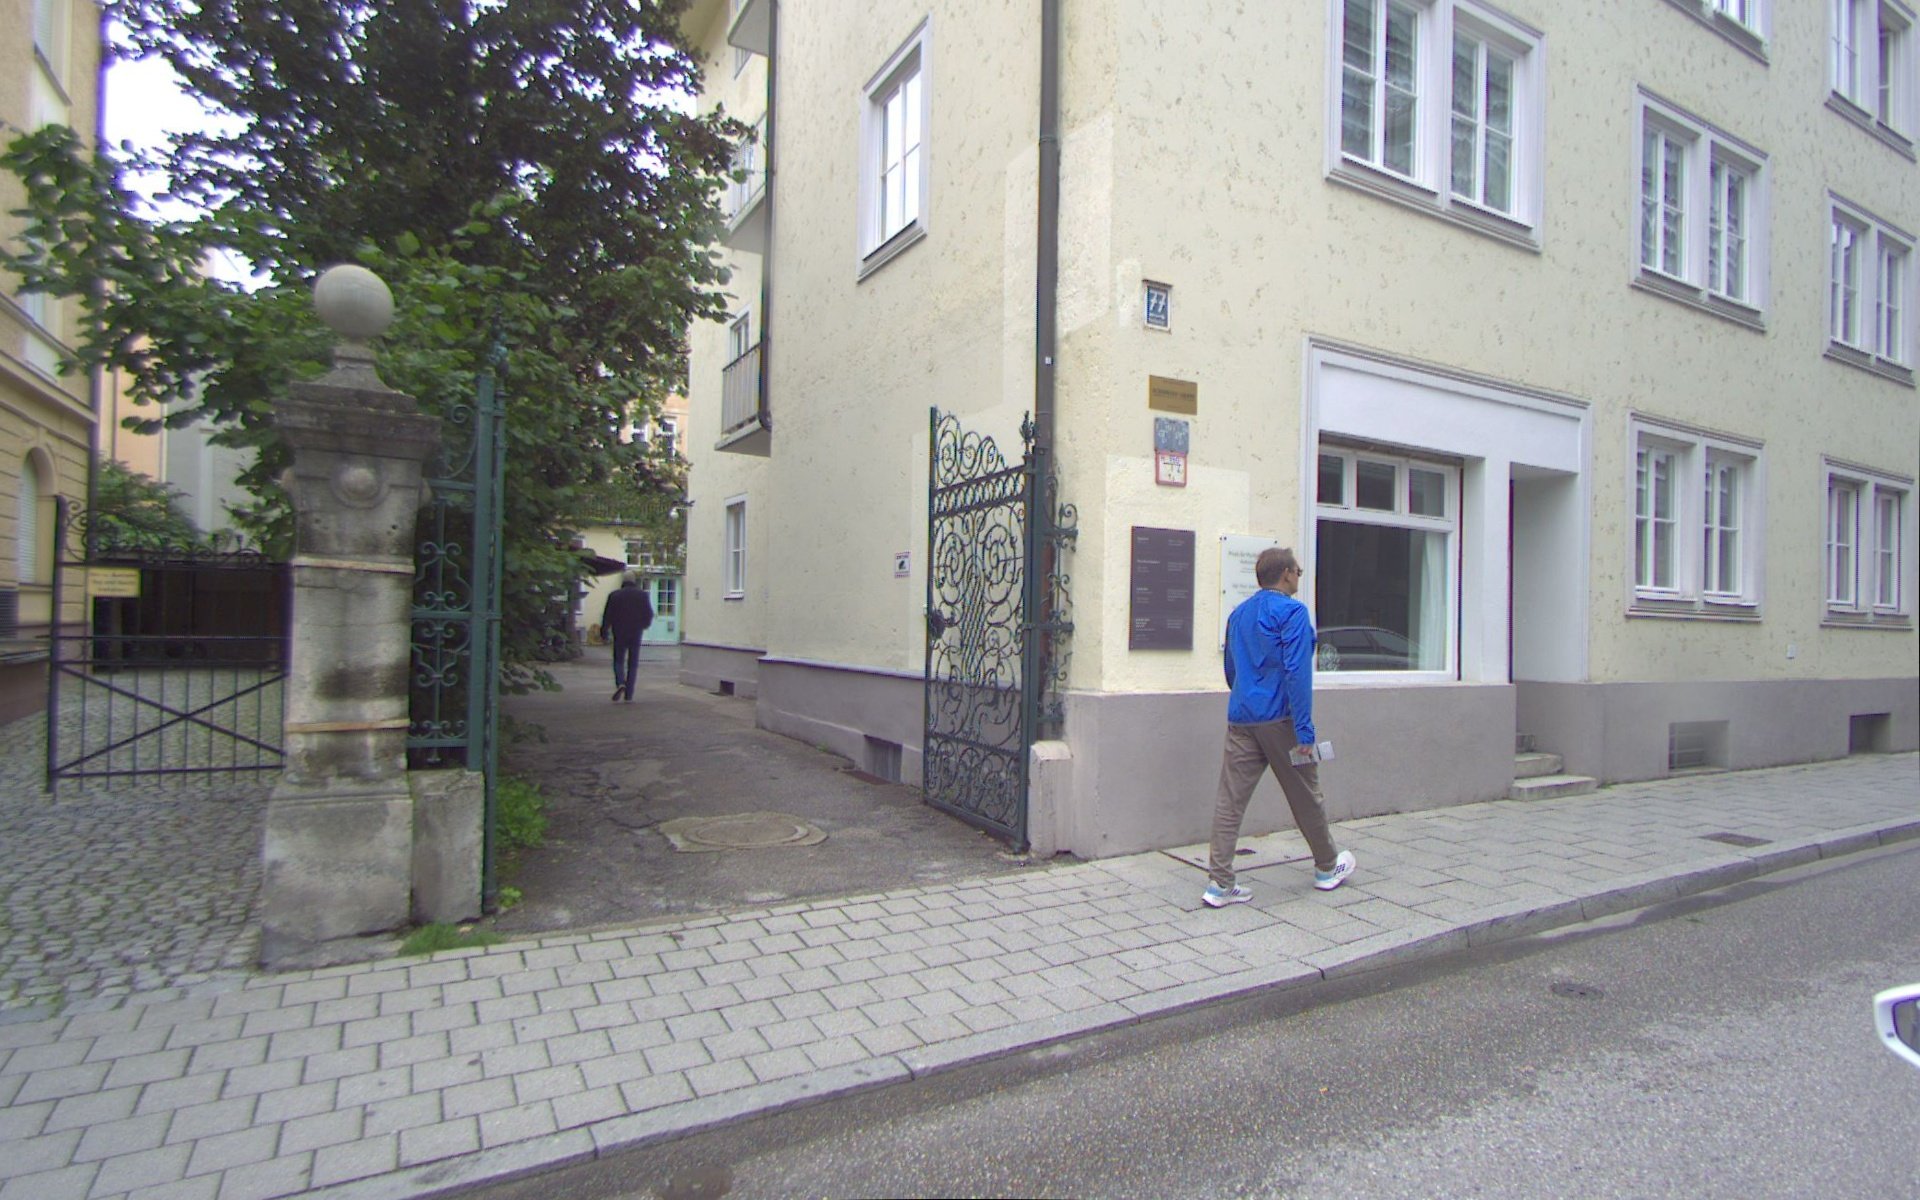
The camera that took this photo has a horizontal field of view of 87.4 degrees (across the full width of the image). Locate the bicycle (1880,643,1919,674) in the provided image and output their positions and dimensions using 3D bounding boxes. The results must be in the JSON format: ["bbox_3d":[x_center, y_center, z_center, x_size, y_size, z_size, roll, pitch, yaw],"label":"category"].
[{"bbox_3d":[35.040,2.164,36.945,0.590,1.083,1.651,2,0,-25],"label":"bicycle"}]

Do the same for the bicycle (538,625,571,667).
[{"bbox_3d":[-10.041,1.112,24.899,0.688,0.985,1.880,1,-1,-20],"label":"bicycle"}]

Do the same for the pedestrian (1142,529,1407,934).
[{"bbox_3d":[1.634,0.620,5.249,1.064,1.879,0.753,2,0,-30],"label":"pedestrian"}]

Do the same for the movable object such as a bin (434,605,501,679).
[{"bbox_3d":[-9.909,0.839,20.262,1.091,1.422,1.221,1,-1,-22],"label":"movable object such as a bin"}]

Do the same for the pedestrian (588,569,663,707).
[{"bbox_3d":[-4.719,0.529,14.157,0.895,1.851,0.951,1,-1,-23],"label":"pedestrian"}]
